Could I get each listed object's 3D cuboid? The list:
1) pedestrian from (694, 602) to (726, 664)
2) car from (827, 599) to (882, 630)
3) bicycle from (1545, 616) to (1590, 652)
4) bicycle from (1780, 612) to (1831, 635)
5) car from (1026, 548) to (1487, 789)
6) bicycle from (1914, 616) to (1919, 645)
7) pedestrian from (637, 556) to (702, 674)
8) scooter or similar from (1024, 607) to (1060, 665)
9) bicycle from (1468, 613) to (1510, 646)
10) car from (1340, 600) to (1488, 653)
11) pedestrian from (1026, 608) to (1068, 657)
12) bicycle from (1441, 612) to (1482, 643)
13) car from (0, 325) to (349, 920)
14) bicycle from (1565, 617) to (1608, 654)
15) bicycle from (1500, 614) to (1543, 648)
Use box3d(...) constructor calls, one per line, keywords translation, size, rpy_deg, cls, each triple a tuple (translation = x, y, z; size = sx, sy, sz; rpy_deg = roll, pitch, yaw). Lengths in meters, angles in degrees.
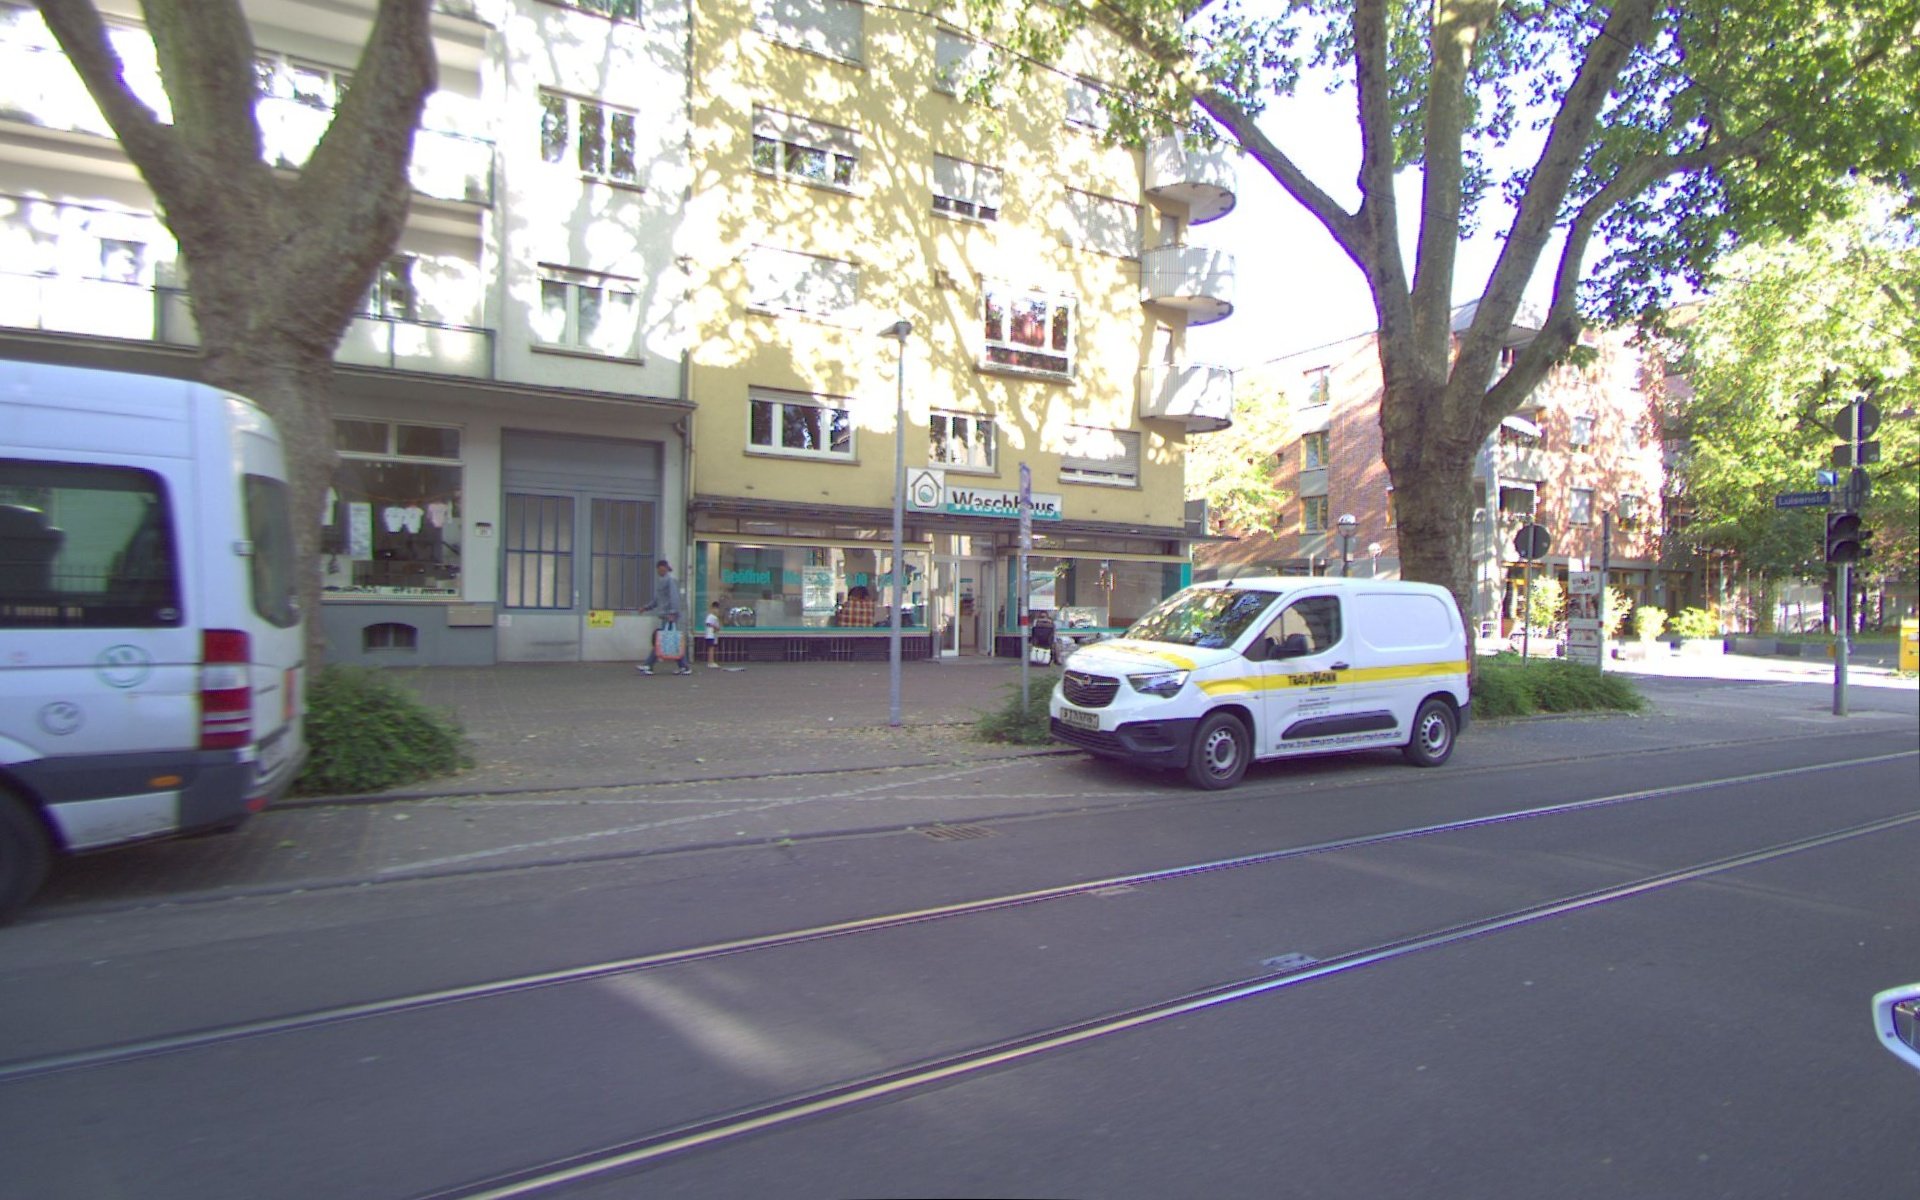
box3d(translation=(-4.604, 0.598, 18.508), size=(0.434, 1.120, 0.417), rpy_deg=(1, 1, -38), cls="pedestrian")
box3d(translation=(-6.455, 0.863, 60.973), size=(1.975, 1.706, 3.970), rpy_deg=(1, 0, -28), cls="car")
box3d(translation=(20.086, 1.125, 33.203), size=(1.618, 1.099, 0.539), rpy_deg=(-1, 2, -29), cls="bicycle")
box3d(translation=(43.091, 1.194, 51.204), size=(0.760, 1.087, 1.921), rpy_deg=(1, 1, -43), cls="bicycle")
box3d(translation=(2.912, 0.562, 9.645), size=(4.267, 1.875, 1.755), rpy_deg=(1, 1, -30), cls="car")
box3d(translation=(41.701, 1.369, 42.018), size=(0.673, 1.235, 2.449), rpy_deg=(1, 2, -26), cls="bicycle")
box3d(translation=(-4.817, 0.242, 16.628), size=(0.853, 1.894, 0.741), rpy_deg=(1, 1, -30), cls="pedestrian")
box3d(translation=(1.721, 0.759, 21.223), size=(0.662, 1.183, 0.644), rpy_deg=(2, 1, -1), cls="scooter or similar")
box3d(translation=(18.954, 1.046, 35.954), size=(1.618, 1.099, 0.539), rpy_deg=(-2, 2, -29), cls="bicycle")
box3d(translation=(14.628, 0.818, 32.570), size=(1.975, 1.528, 3.970), rpy_deg=(1, 0, -28), cls="car")
box3d(translation=(1.914, 0.718, 22.203), size=(0.702, 1.061, 0.576), rpy_deg=(1, 1, -29), cls="pedestrian")
box3d(translation=(18.404, 1.003, 36.837), size=(1.619, 1.099, 0.539), rpy_deg=(0, 1, -29), cls="bicycle")
box3d(translation=(-6.377, 0.042, 4.520), size=(5.944, 2.612, 2.101), rpy_deg=(1, 1, -26), cls="car")
box3d(translation=(20.372, 1.148, 32.648), size=(1.518, 1.099, 0.539), rpy_deg=(-2, 2, -29), cls="bicycle")
box3d(translation=(19.456, 1.067, 34.777), size=(1.618, 1.099, 0.539), rpy_deg=(-1, 2, -29), cls="bicycle")
